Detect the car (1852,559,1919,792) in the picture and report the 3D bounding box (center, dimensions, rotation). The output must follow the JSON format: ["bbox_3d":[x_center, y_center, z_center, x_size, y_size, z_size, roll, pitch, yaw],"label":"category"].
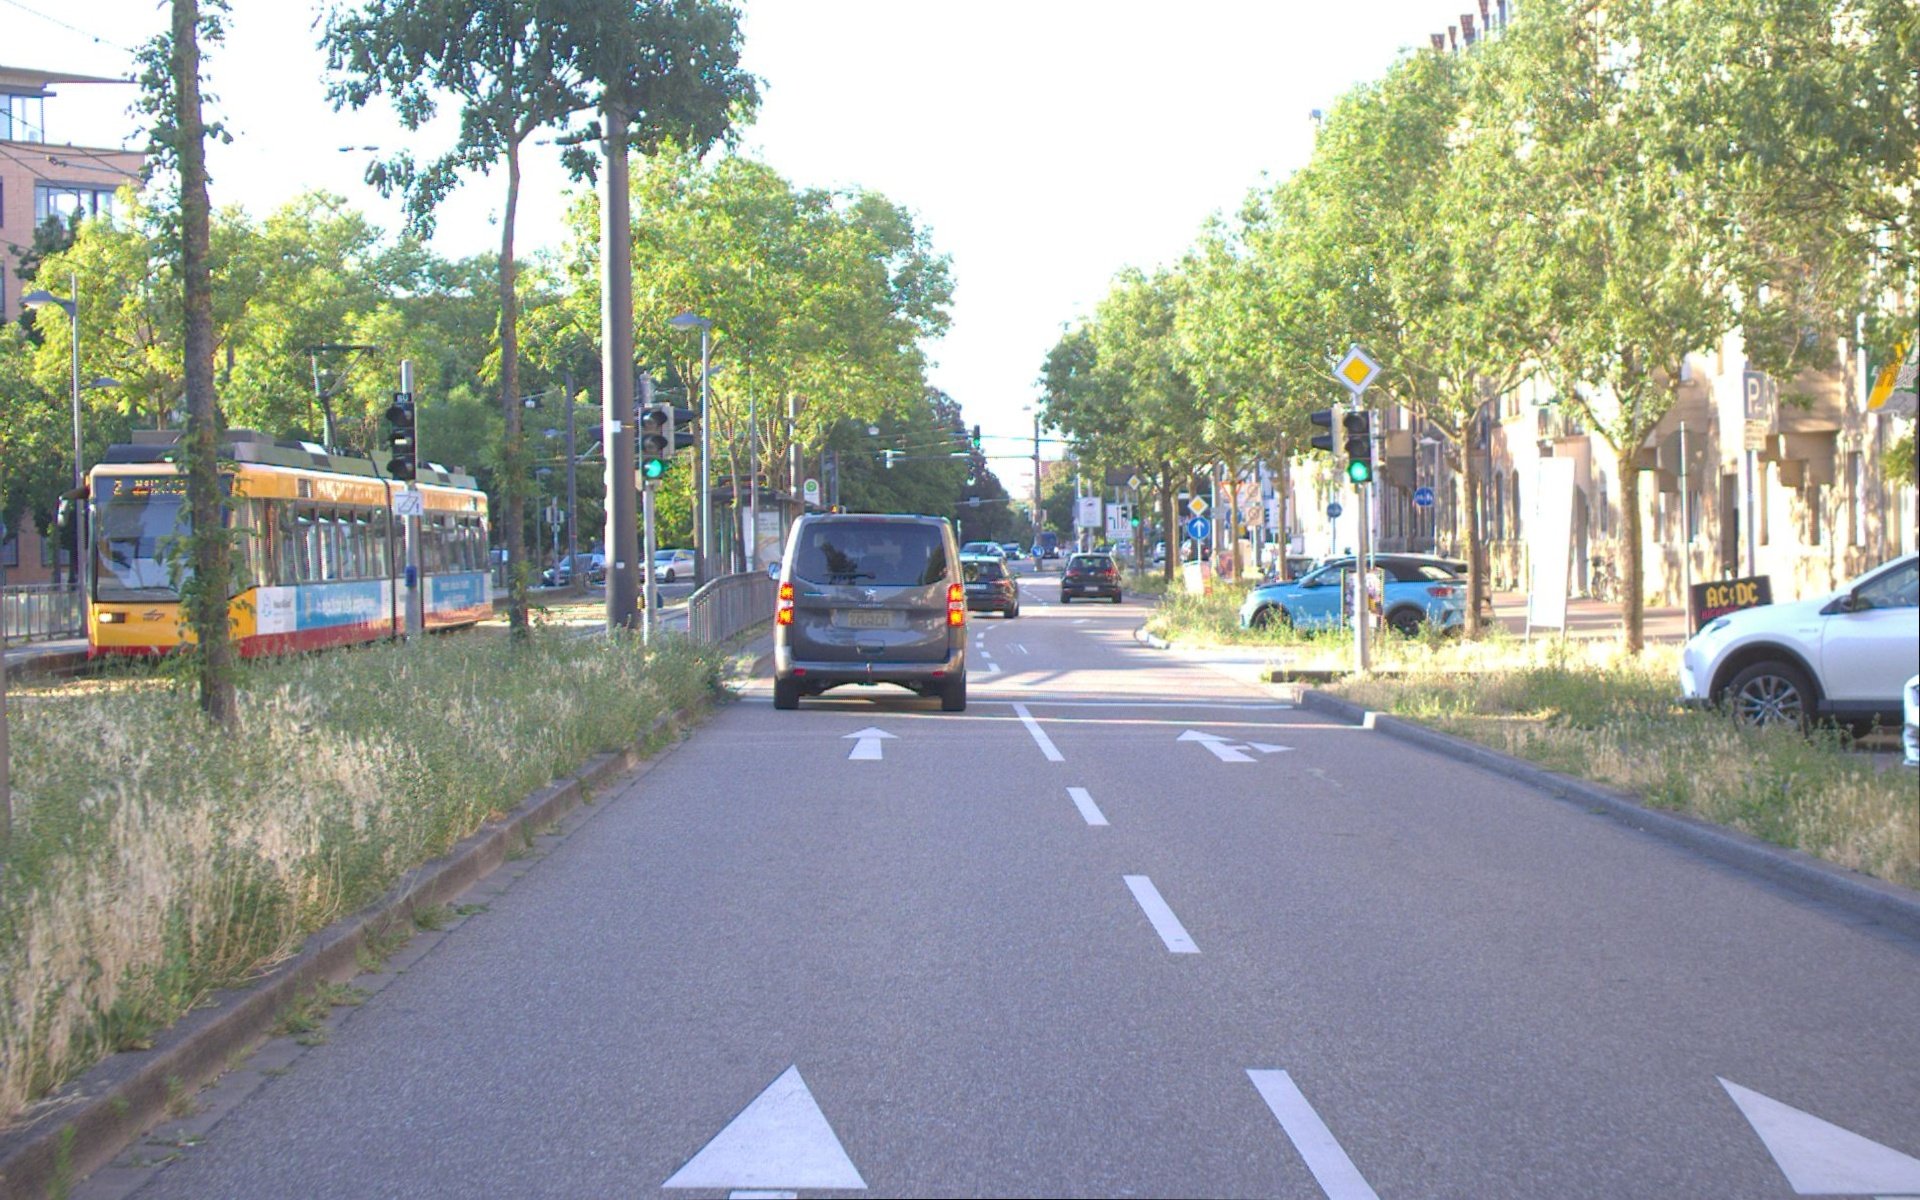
[{"bbox_3d":[7.866,0.444,20.504,4.548,1.395,2.027,0,0,31],"label":"car"}]

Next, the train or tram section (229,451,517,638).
[{"bbox_3d":[-11.399,-1.089,68.513,3.431,3.328,13.858,0,1,0],"label":"train or tram section"}]

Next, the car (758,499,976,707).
[{"bbox_3d":[-0.858,-0.004,34.168,1.993,1.894,4.299,1,1,0],"label":"car"}]

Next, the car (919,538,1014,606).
[{"bbox_3d":[0.122,-0.674,79.902,1.993,1.505,4.001,1,1,-3],"label":"car"}]

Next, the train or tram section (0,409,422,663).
[{"bbox_3d":[-11.321,-0.963,54.026,3.431,3.418,15.028,0,1,0],"label":"train or tram section"}]

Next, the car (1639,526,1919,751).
[{"bbox_3d":[7.692,0.267,26.524,4.427,1.685,1.912,1,1,35],"label":"car"}]

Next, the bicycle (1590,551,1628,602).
[{"bbox_3d":[15.729,-0.577,83.338,0.483,1.161,1.746,-6,1,0],"label":"bicycle"}]

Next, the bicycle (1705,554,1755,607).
[{"bbox_3d":[15.914,-0.408,71.046,0.572,1.070,1.897,-2,1,0],"label":"bicycle"}]

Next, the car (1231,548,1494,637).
[{"bbox_3d":[7.143,-0.153,61.143,4.281,1.517,1.844,1,1,32],"label":"car"}]

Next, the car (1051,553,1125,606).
[{"bbox_3d":[3.737,-0.617,100.983,1.993,1.505,4.000,1,1,-1],"label":"car"}]

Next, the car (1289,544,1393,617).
[{"bbox_3d":[8.480,-0.453,76.769,1.725,1.507,4.272,2,1,-1],"label":"car"}]

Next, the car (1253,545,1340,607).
[{"bbox_3d":[8.414,-0.633,86.233,1.704,1.443,4.289,2,1,0],"label":"car"}]

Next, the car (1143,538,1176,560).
[{"bbox_3d":[14.971,-3.821,258.095,1.993,1.651,4.299,-1,1,-3],"label":"car"}]
